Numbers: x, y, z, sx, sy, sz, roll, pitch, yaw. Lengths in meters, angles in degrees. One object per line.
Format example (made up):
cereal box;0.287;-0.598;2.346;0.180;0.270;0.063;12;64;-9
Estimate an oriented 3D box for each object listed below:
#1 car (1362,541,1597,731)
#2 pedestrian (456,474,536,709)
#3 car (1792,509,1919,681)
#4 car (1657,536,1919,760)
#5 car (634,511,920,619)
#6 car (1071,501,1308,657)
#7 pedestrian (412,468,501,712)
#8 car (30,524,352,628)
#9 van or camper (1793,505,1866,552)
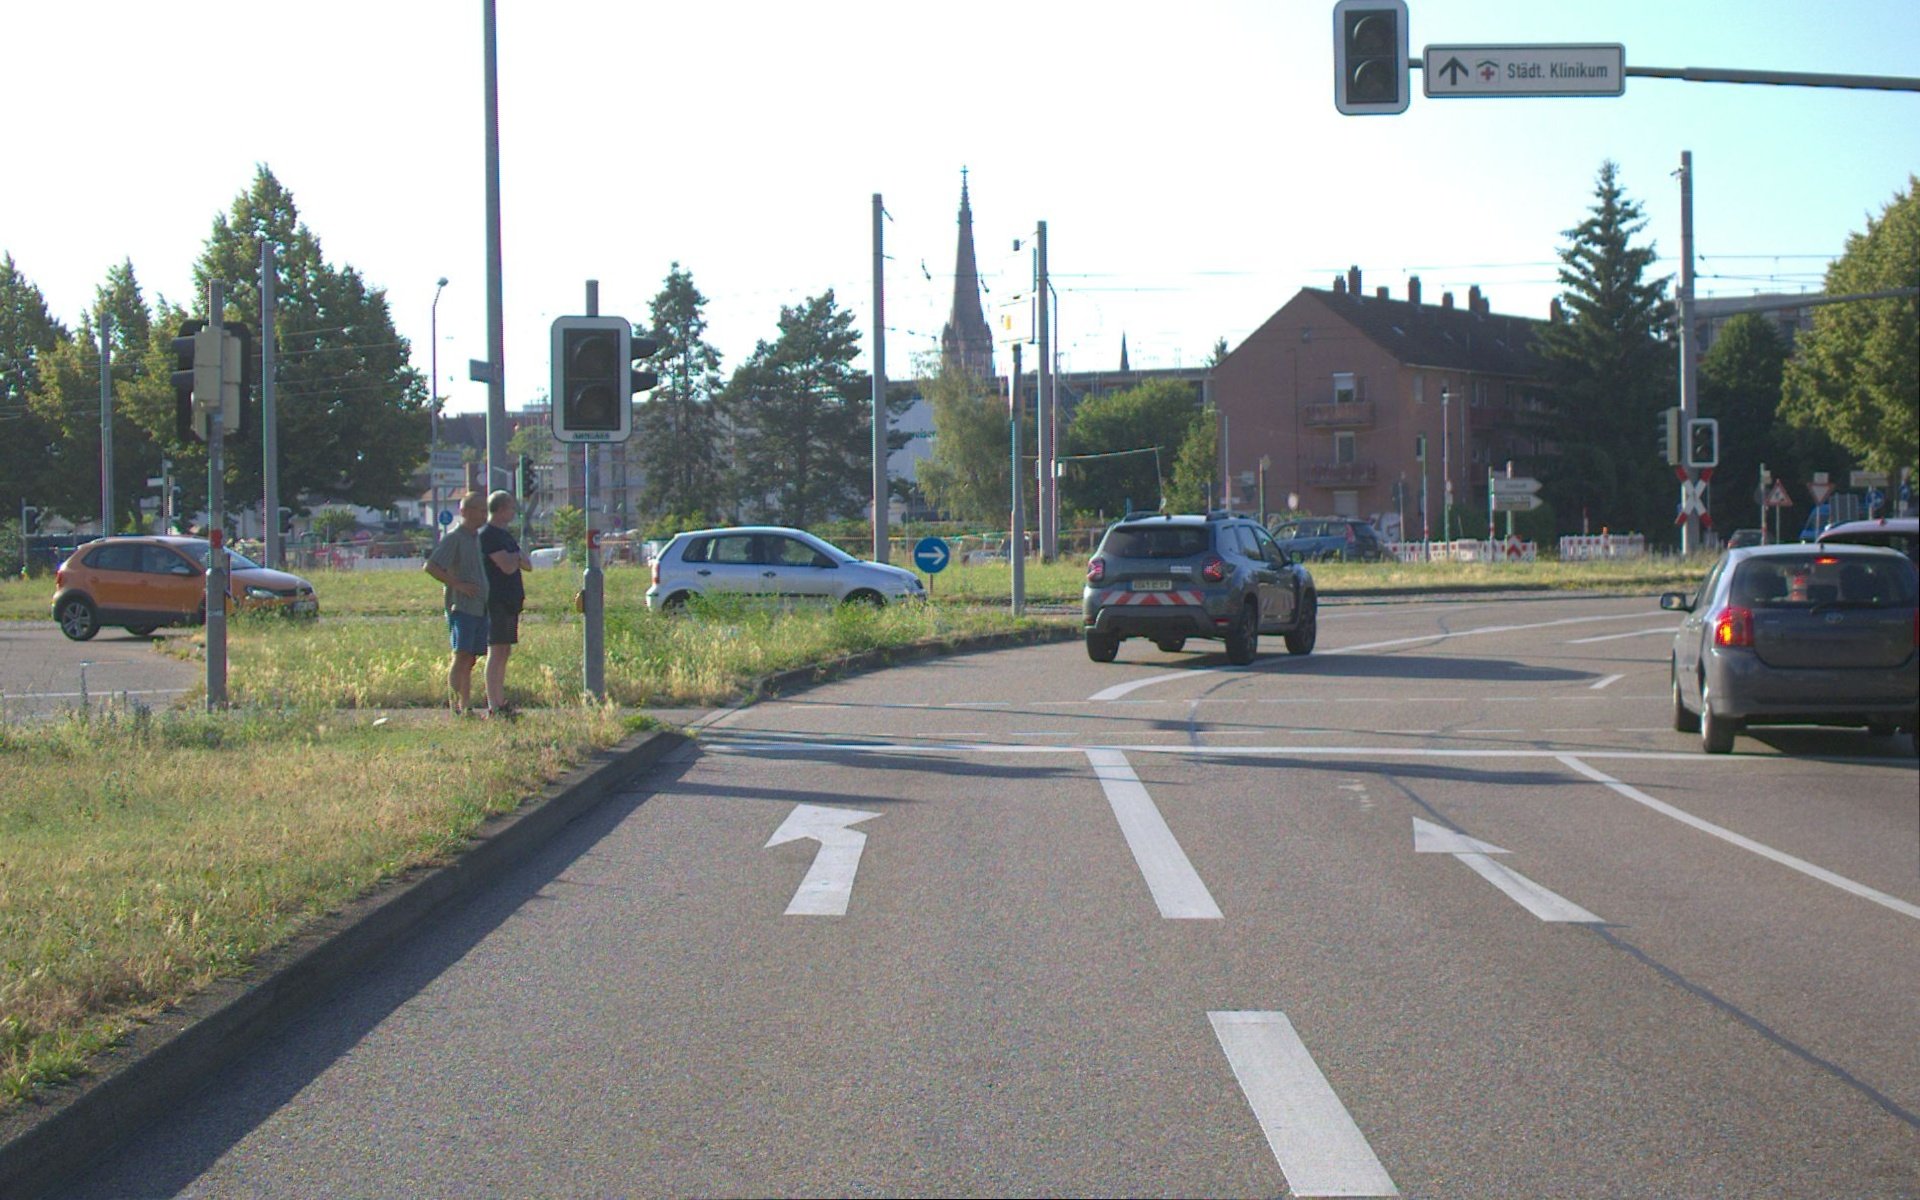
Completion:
car;4.709;0.276;31.631;1.602;1.604;4.000;0;1;1
pedestrian;-3.671;-0.072;27.232;0.486;1.837;0.672;-1;1;4
car;9.833;-0.092;35.667;1.749;1.615;3.816;2;3;22
car;6.119;0.291;25.031;1.748;1.468;3.819;-1;1;7
car;-2.508;-0.495;47.730;3.747;1.429;1.836;-1;1;4
car;2.638;-0.255;38.630;1.907;1.654;3.997;0;1;15
pedestrian;-3.847;-0.082;26.295;0.486;1.837;0.719;0;1;8
car;-11.062;-0.346;49.506;4.130;1.439;1.907;0;1;20
van or camper;40.615;-3.352;160.543;2.097;2.147;4.415;0;1;32
